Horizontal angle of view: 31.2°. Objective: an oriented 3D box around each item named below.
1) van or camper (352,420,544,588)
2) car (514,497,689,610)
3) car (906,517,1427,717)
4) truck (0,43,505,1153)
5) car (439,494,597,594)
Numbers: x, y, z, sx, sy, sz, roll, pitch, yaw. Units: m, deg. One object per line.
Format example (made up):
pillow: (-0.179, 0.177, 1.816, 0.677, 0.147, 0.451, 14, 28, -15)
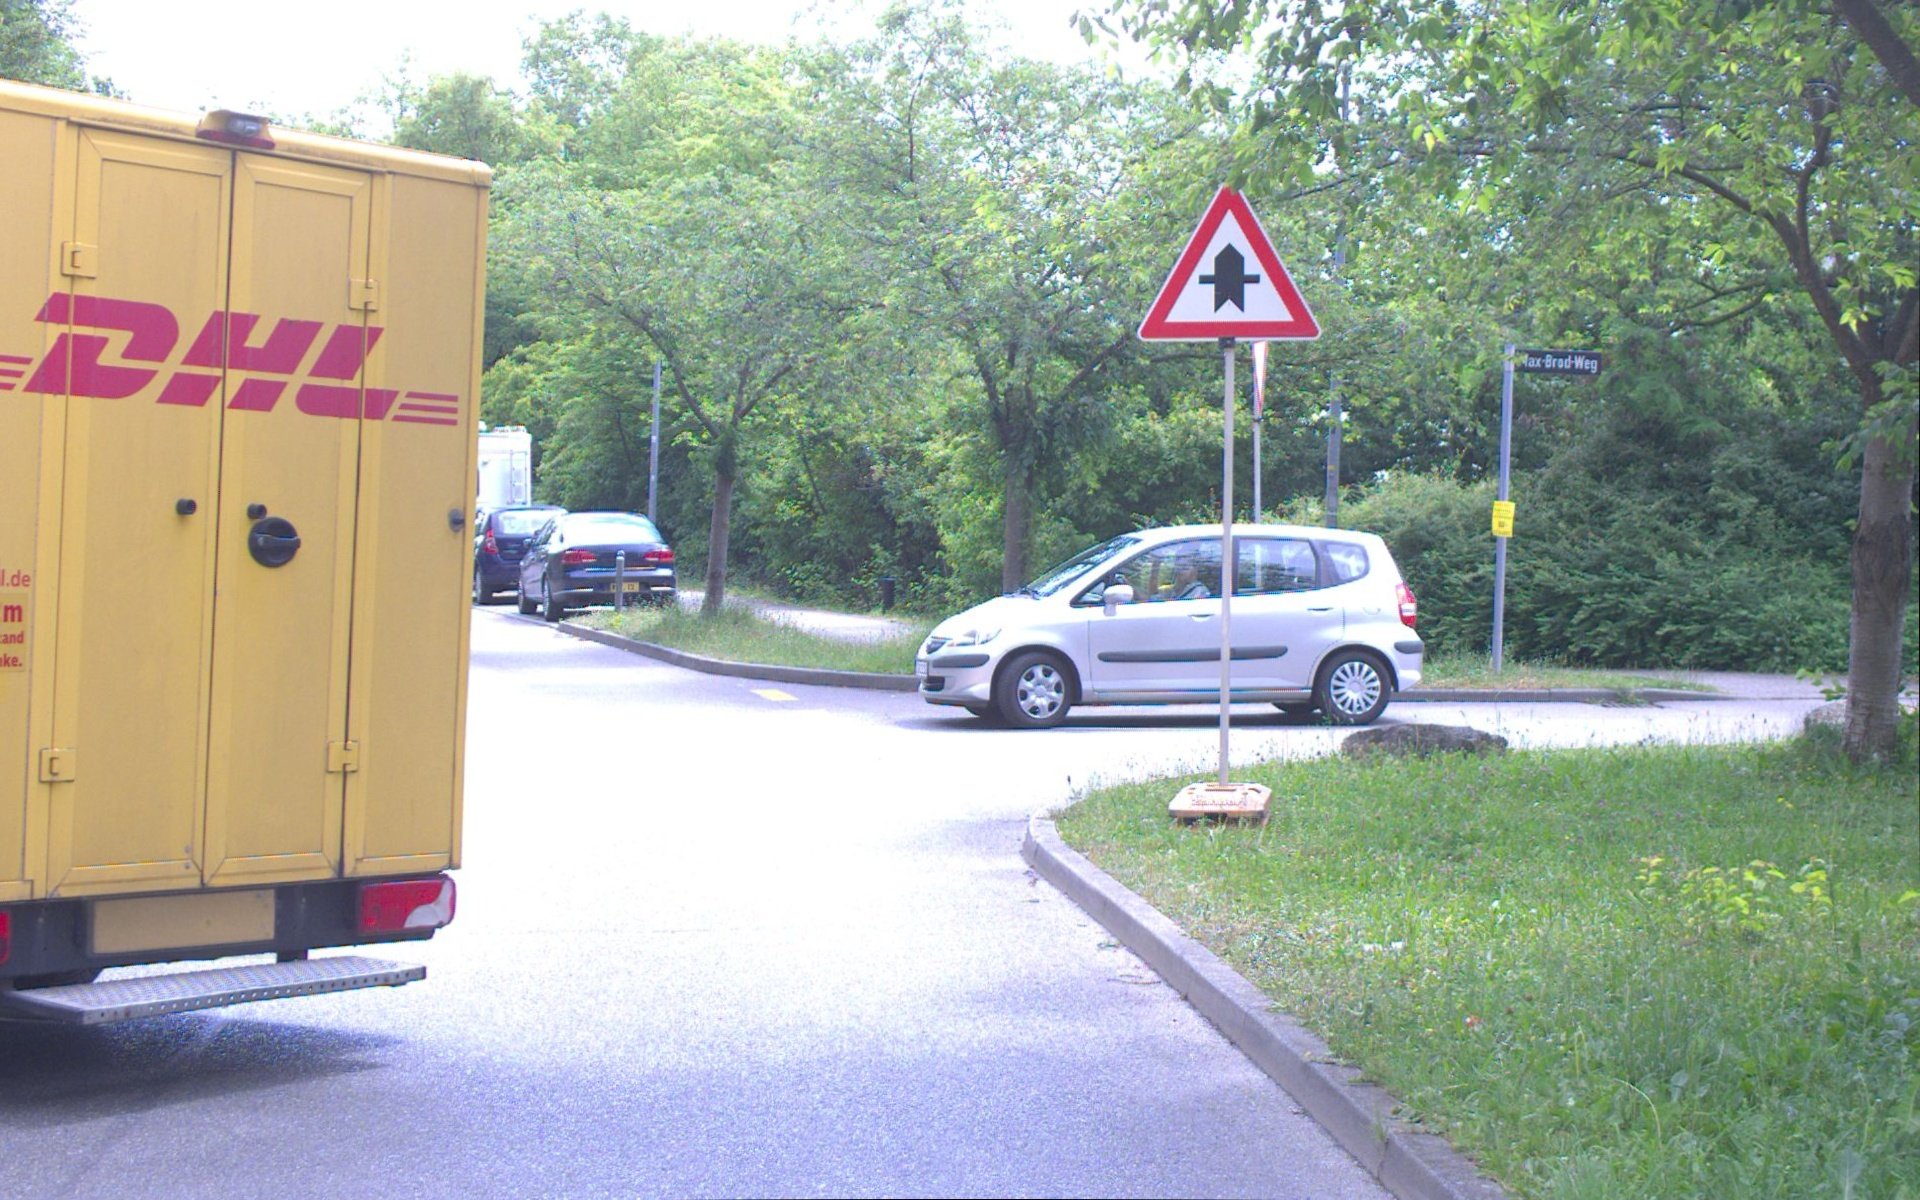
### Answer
van or camper: (-9.341, -1.775, 62.209, 2.332, 2.859, 6.153, 0, 2, -19)
car: (-5.044, -0.689, 47.900, 1.775, 1.429, 4.335, -1, 2, -14)
car: (1.523, 0.116, 26.211, 3.639, 1.451, 1.848, 0, 1, -9)
truck: (-4.661, -0.207, 11.109, 6.565, 2.798, 2.228, 4, 4, 37)
car: (-7.094, -0.905, 54.911, 1.728, 1.514, 3.890, -1, 2, -19)
